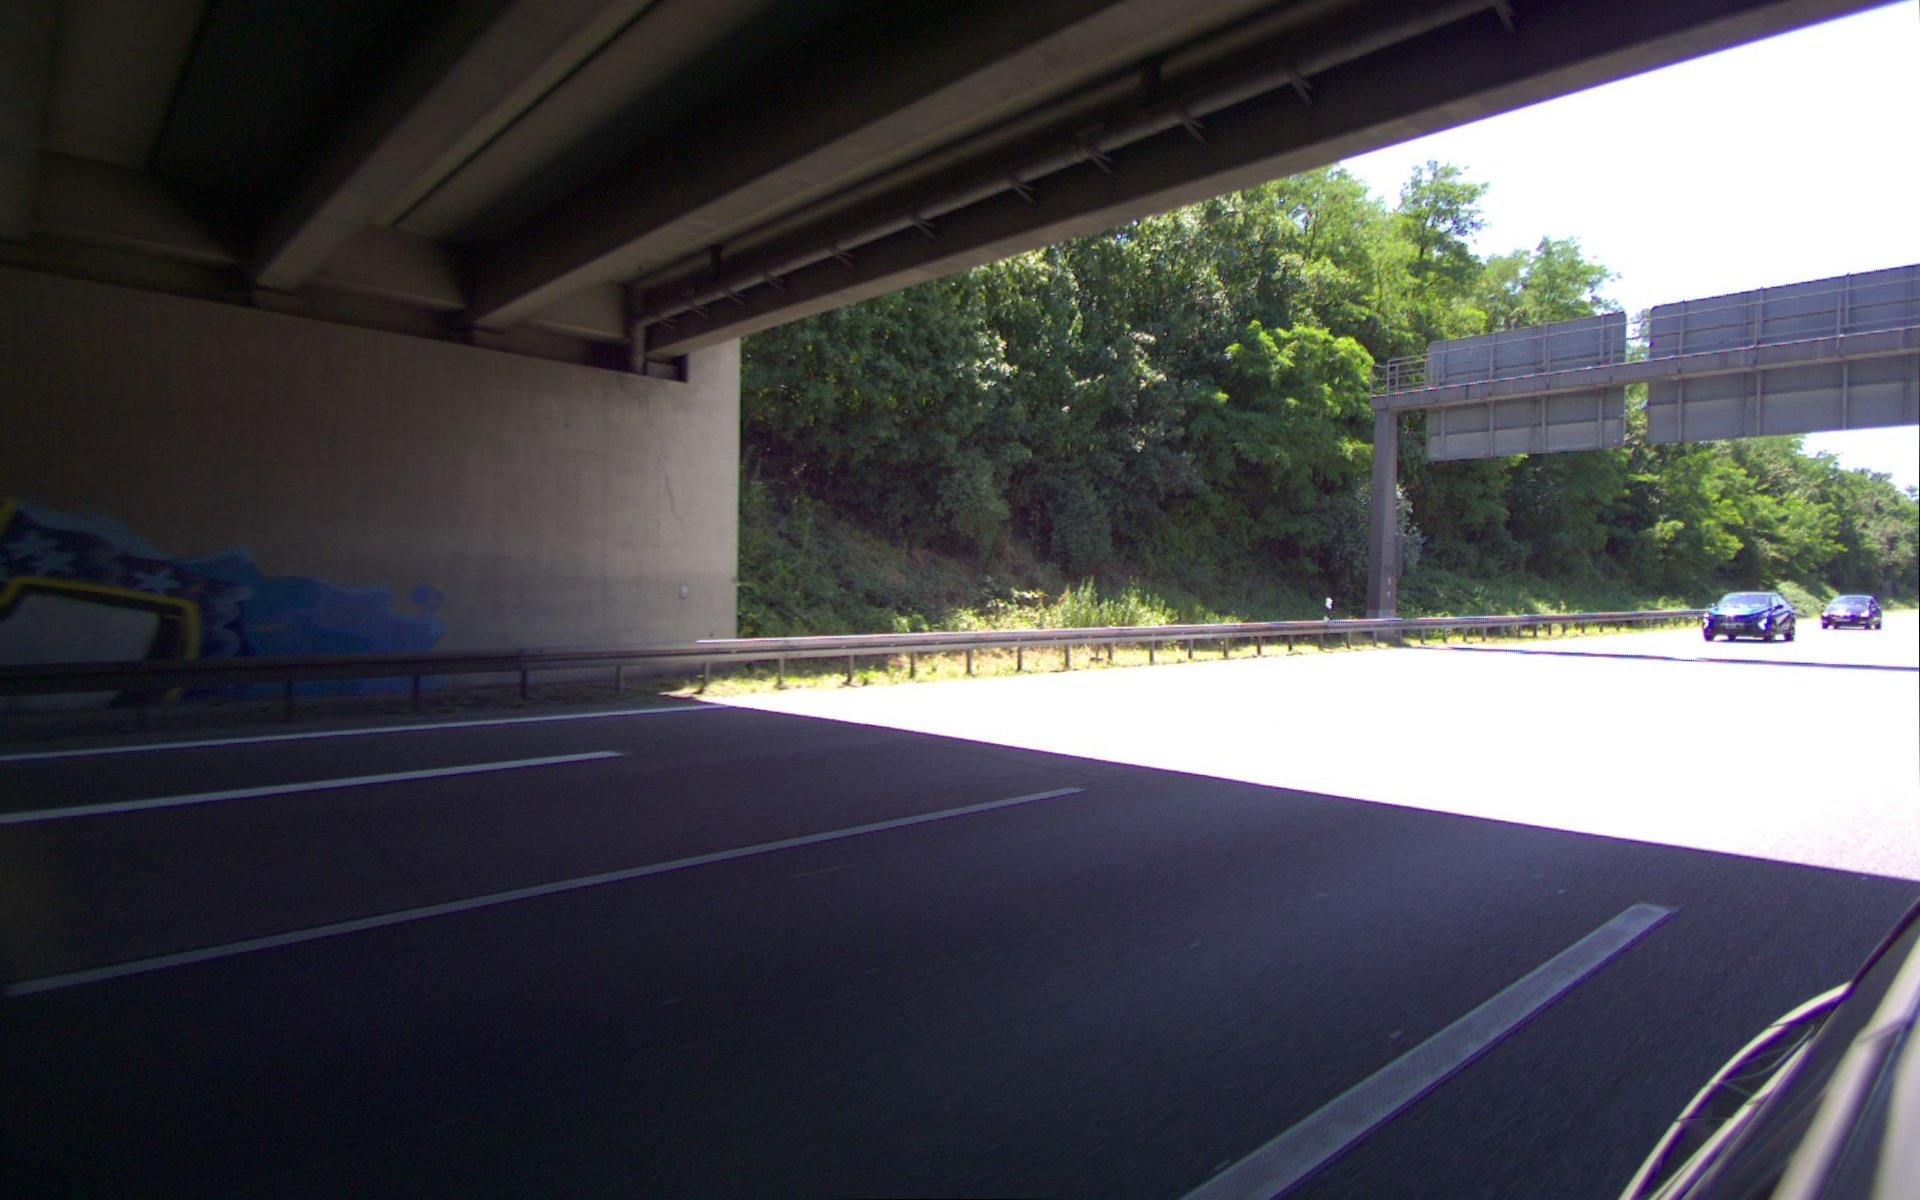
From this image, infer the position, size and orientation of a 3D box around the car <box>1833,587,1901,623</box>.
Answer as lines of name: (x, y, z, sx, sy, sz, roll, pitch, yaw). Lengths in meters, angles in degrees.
car: (39.442, 0.200, 43.978, 4.494, 1.465, 1.673, -1, 1, -41)

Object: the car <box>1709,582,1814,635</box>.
car: (25.663, 0.235, 32.360, 4.128, 1.575, 1.873, -1, 1, -41)
